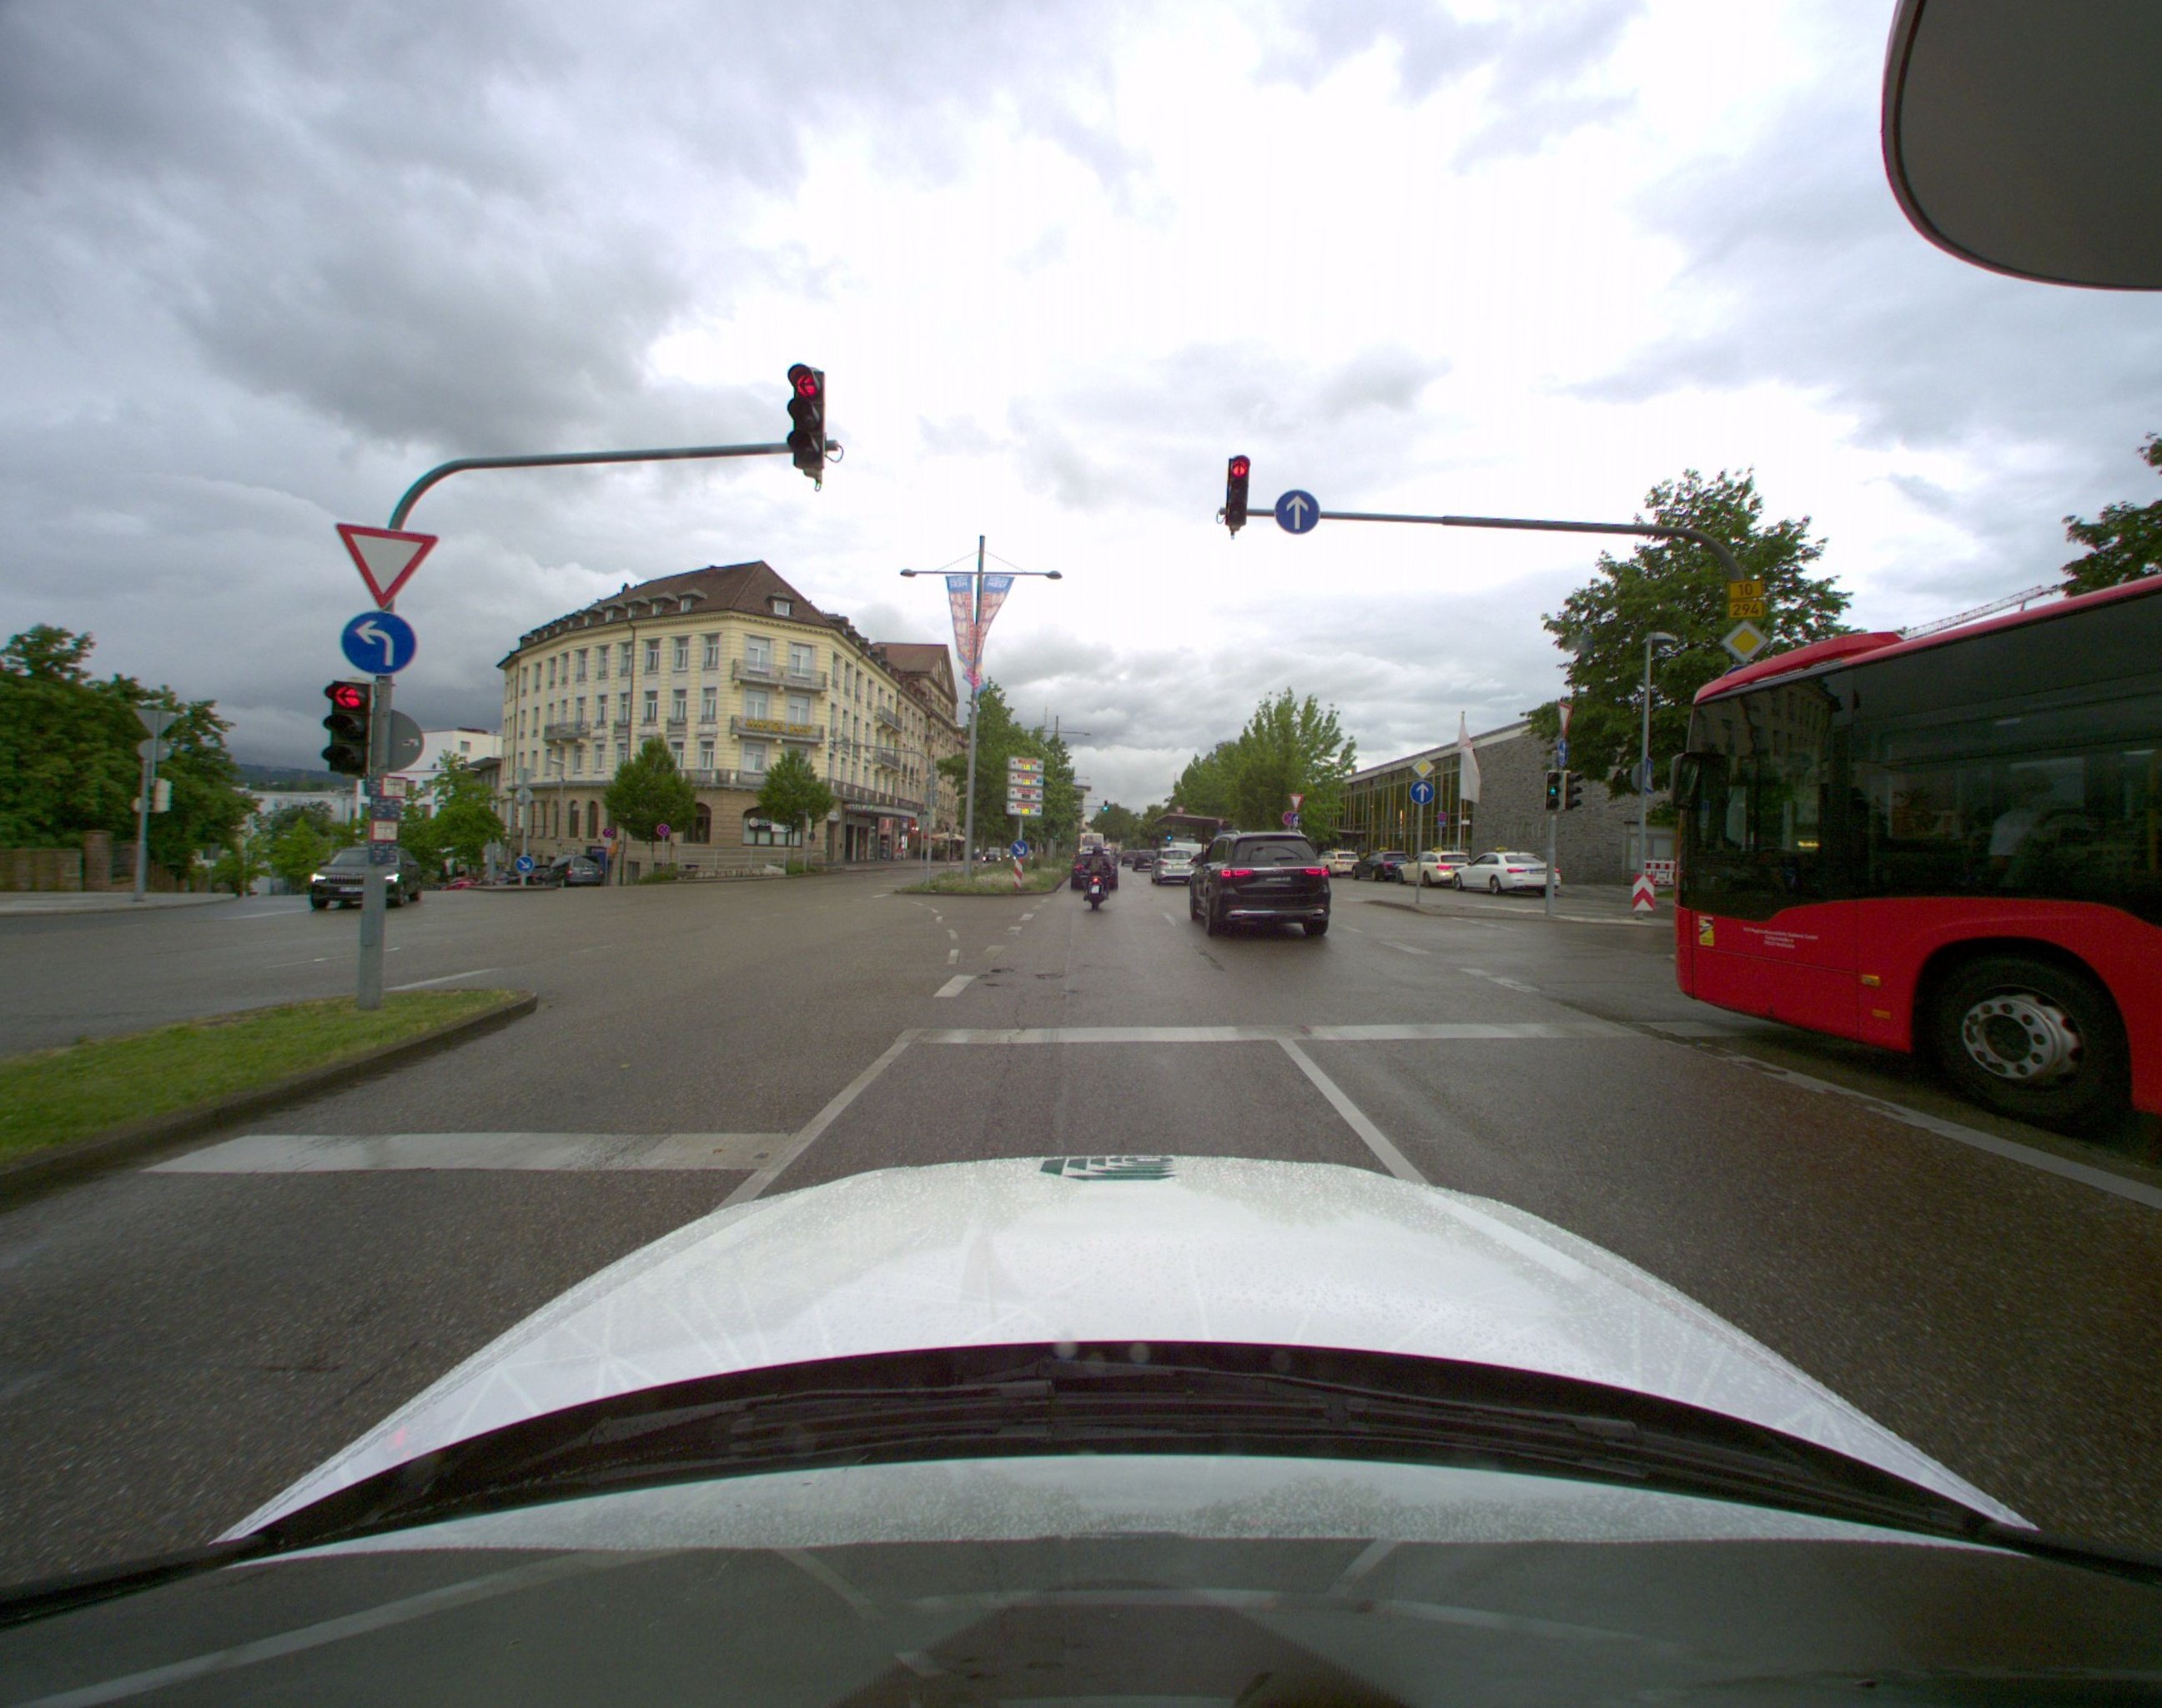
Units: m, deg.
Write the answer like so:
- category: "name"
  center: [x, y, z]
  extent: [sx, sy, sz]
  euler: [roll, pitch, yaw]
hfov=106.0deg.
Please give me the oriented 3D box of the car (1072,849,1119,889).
- category: "car"
  center: [0.583, 0.539, 31.271]
  extent: [1.702, 1.448, 4.002]
  euler: [0, 0, 2]

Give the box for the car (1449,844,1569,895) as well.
- category: "car"
  center: [14.678, 0.485, 28.241]
  extent: [1.768, 1.589, 4.615]
  euler: [0, 0, 0]

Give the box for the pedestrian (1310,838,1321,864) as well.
- category: "pedestrian"
  center: [21.906, -0.293, 76.001]
  extent: [0.839, 2.411, 0.863]
  euler: [0, 0, 3]

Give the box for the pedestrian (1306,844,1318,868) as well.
- category: "pedestrian"
  center: [19.879, 0.162, 70.139]
  extent: [0.767, 2.013, 0.828]
  euler: [0, 0, -1]

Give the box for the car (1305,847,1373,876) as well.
- category: "car"
  center: [14.693, 0.392, 46.680]
  extent: [1.990, 1.600, 4.814]
  euler: [0, 0, -5]

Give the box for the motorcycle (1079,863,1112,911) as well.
- category: "motorcycle"
  center: [0.369, 0.776, 20.098]
  extent: [0.763, 1.077, 2.176]
  euler: [0, 0, 2]

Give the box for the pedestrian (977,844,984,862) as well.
- category: "pedestrian"
  center: [-11.560, -0.101, 94.029]
  extent: [0.756, 2.013, 0.832]
  euler: [0, 0, -5]

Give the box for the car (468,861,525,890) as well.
- category: "car"
  center: [-36.304, 1.301, 50.564]
  extent: [3.864, 1.640, 1.805]
  euler: [0, 0, 37]

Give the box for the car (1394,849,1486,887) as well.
- category: "car"
  center: [14.811, 0.524, 33.898]
  extent: [1.840, 1.451, 4.667]
  euler: [0, 0, 0]

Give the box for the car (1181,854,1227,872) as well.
- category: "car"
  center: [12.793, 0.887, 84.725]
  extent: [4.348, 1.857, 1.988]
  euler: [0, 0, -18]

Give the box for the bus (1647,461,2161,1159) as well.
- category: "bus"
  center: [6.233, -0.196, 2.099]
  extent: [2.732, 3.174, 10.199]
  euler: [0, 0, 2]

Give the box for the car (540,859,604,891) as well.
- category: "car"
  center: [-27.085, 1.100, 43.311]
  extent: [3.949, 1.568, 1.812]
  euler: [0, 0, 41]

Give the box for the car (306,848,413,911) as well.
- category: "car"
  center: [-20.523, 0.649, 23.353]
  extent: [1.835, 1.640, 4.550]
  euler: [0, 0, -36]

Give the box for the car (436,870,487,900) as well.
- category: "car"
  center: [-41.006, 2.012, 53.885]
  extent: [3.575, 1.812, 1.788]
  euler: [0, 0, 38]

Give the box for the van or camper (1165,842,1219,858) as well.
- category: "van or camper"
  center: [14.337, -0.534, 105.351]
  extent: [6.787, 2.014, 2.366]
  euler: [0, 0, -25]

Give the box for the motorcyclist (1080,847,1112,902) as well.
- category: "motorcyclist"
  center: [0.378, 0.507, 20.231]
  extent: [0.761, 1.331, 0.867]
  euler: [0, 0, 2]

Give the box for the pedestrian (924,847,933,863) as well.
- category: "pedestrian"
  center: [-13.959, 0.096, 74.661]
  extent: [0.666, 1.510, 0.513]
  euler: [0, 0, -37]

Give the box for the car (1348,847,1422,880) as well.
- category: "car"
  center: [14.903, 0.443, 40.186]
  extent: [1.907, 1.524, 4.741]
  euler: [0, 0, 0]

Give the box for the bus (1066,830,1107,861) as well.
- category: "bus"
  center: [0.398, -0.899, 92.167]
  extent: [3.752, 3.209, 15.509]
  euler: [0, 0, -3]

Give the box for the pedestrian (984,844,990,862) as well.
- category: "pedestrian"
  center: [-11.136, -0.117, 96.565]
  extent: [0.756, 2.013, 0.832]
  euler: [0, 0, -5]

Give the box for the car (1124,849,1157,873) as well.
- category: "car"
  center: [4.058, 0.474, 55.732]
  extent: [1.806, 1.581, 3.899]
  euler: [0, 0, -3]

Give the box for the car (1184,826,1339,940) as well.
- category: "car"
  center: [3.161, 0.437, 15.264]
  extent: [1.986, 1.806, 4.691]
  euler: [0, 0, 2]

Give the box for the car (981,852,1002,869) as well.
- category: "car"
  center: [-8.780, 0.642, 80.215]
  extent: [1.766, 1.531, 4.075]
  euler: [-1, 0, -2]

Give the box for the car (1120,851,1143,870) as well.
- category: "car"
  center: [4.593, 0.579, 74.606]
  extent: [1.806, 1.642, 3.900]
  euler: [0, 0, -2]

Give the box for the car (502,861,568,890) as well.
- category: "car"
  center: [-31.958, 1.231, 47.647]
  extent: [3.948, 1.640, 2.013]
  euler: [-1, -1, 37]

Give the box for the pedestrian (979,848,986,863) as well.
- category: "pedestrian"
  center: [-11.389, 0.169, 94.314]
  extent: [0.672, 1.701, 0.634]
  euler: [0, 0, 1]

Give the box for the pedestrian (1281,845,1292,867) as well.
- category: "pedestrian"
  center: [18.665, 0.191, 74.069]
  extent: [0.767, 2.013, 0.828]
  euler: [0, 0, -1]

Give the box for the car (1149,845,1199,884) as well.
- category: "car"
  center: [3.987, 0.423, 35.429]
  extent: [1.844, 1.567, 4.002]
  euler: [0, 0, 2]
